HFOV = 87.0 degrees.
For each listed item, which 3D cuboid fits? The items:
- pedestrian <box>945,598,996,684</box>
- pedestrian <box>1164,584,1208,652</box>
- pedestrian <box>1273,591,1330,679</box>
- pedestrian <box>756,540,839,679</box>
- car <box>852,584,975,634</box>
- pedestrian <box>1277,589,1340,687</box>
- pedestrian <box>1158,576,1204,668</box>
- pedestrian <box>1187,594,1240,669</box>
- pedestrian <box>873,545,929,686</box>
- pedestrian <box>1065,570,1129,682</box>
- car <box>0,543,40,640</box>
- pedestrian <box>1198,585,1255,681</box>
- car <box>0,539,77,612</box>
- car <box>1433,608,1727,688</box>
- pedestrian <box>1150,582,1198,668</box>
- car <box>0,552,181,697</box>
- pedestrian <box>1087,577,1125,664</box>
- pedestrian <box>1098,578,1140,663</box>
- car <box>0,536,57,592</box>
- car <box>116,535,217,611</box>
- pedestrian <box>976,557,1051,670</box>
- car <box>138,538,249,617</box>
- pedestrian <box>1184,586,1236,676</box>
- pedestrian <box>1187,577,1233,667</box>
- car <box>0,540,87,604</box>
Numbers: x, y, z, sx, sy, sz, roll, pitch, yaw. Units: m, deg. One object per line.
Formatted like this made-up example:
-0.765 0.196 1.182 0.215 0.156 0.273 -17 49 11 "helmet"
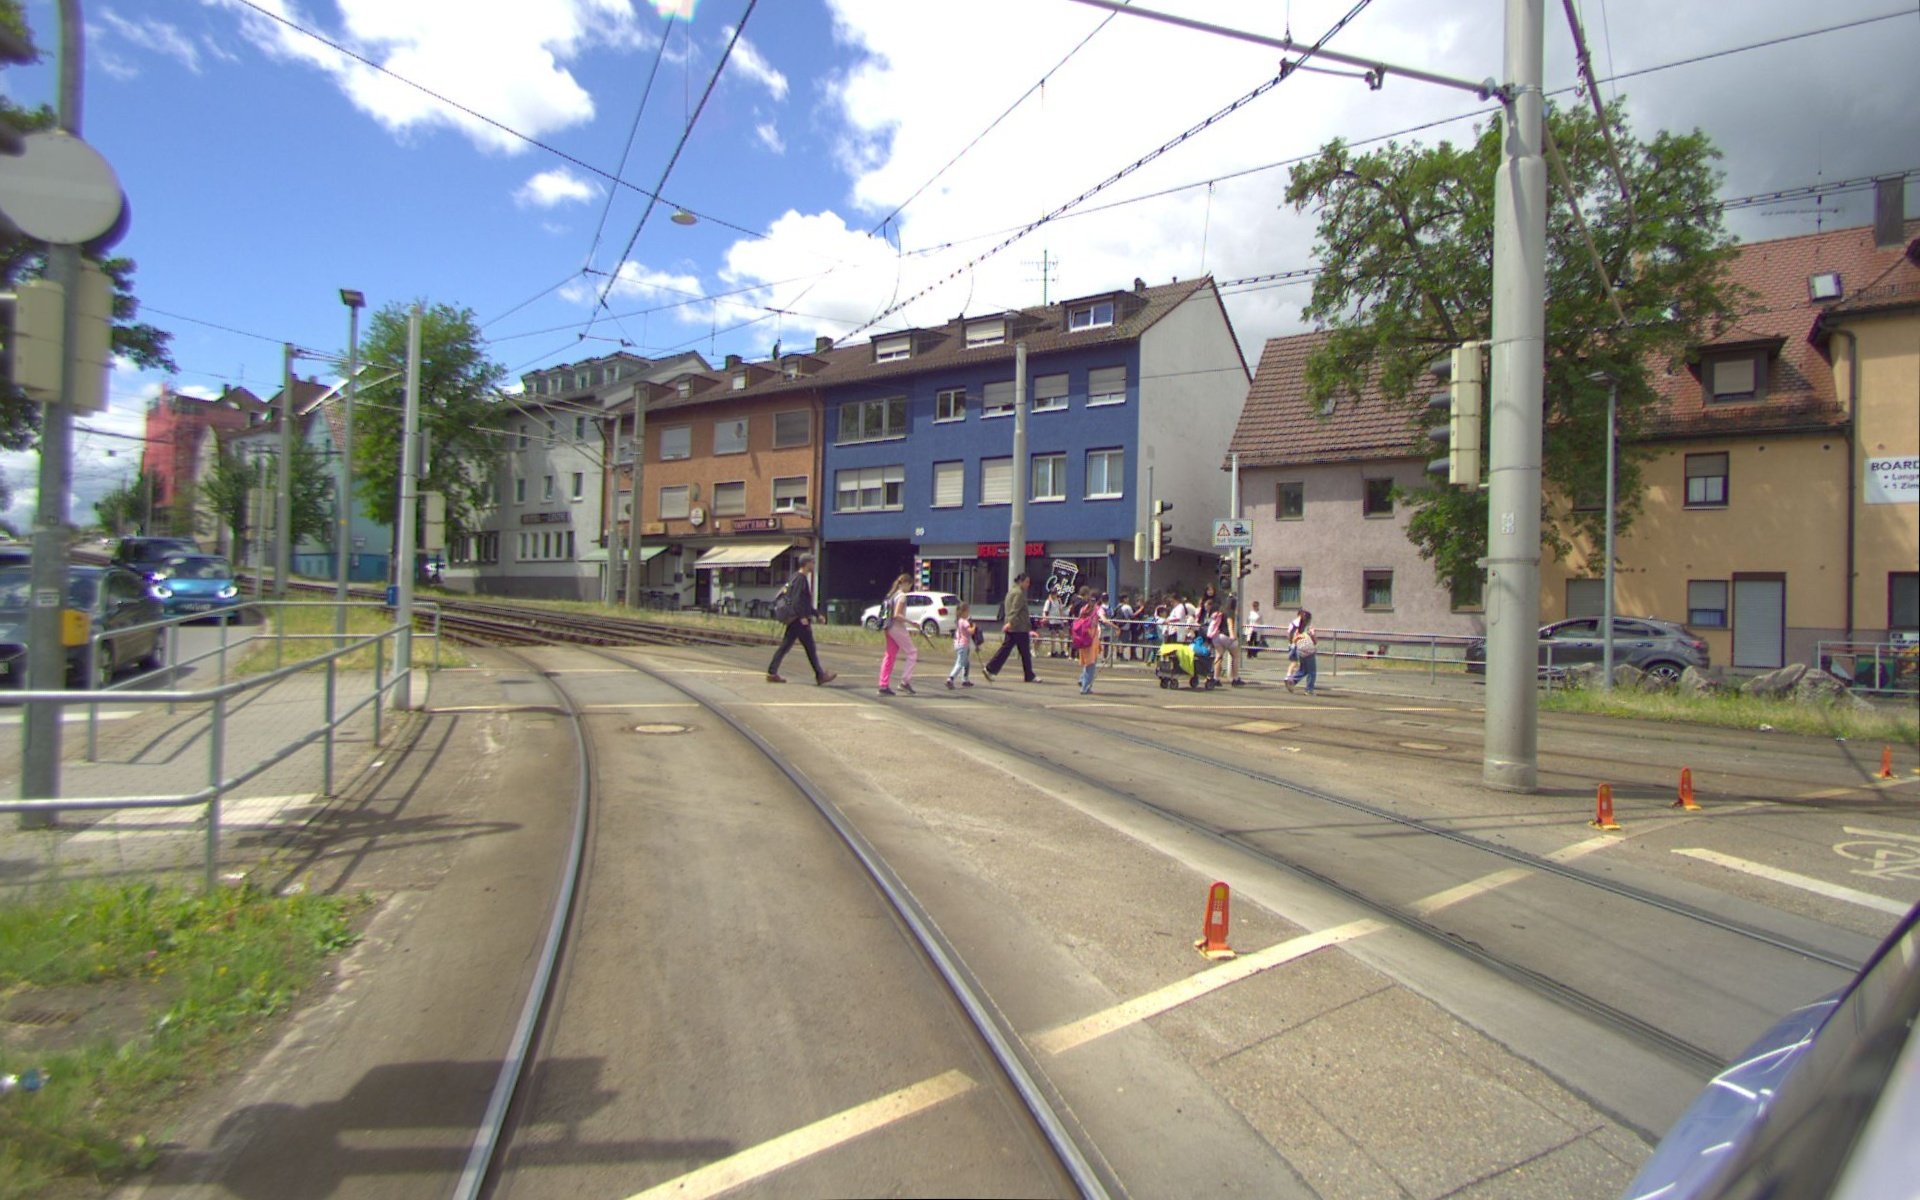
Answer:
0.152 0.572 14.442 0.663 1.182 0.586 1 0 6 "pedestrian"
4.772 0.365 21.345 0.672 1.392 0.626 1 0 41 "pedestrian"
5.667 0.571 16.799 0.661 1.418 0.588 1 0 -15 "pedestrian"
-2.248 0.118 14.066 0.950 1.864 0.825 1 0 6 "pedestrian"
-1.597 0.279 34.320 3.976 1.551 1.690 1 -1 36 "car"
5.460 0.574 15.865 0.763 1.488 0.542 1 0 -26 "pedestrian"
4.368 0.412 20.002 0.673 1.772 0.578 2 1 42 "pedestrian"
4.892 0.586 19.502 0.577 1.392 0.779 1 1 -42 "pedestrian"
-0.767 0.191 13.096 0.679 1.772 0.753 1 0 -4 "pedestrian"
1.897 0.346 14.138 0.839 1.500 0.741 1 0 6 "pedestrian"
-17.534 -0.146 17.266 1.960 1.663 4.003 1 0 -31 "car"
4.392 0.531 16.694 0.662 1.546 0.588 1 1 -32 "pedestrian"
-21.041 -0.546 22.271 1.866 1.482 4.002 0 1 -33 "car"
12.256 0.886 20.264 4.823 1.388 1.895 0 -1 35 "car"
4.072 0.456 19.292 0.673 1.585 0.578 2 1 42 "pedestrian"
-11.053 0.174 12.278 1.704 1.455 4.103 -1 4 -26 "car"
3.010 0.408 20.928 0.739 1.772 0.586 1 0 6 "pedestrian"
3.430 0.430 21.837 0.673 1.772 0.578 2 1 42 "pedestrian"
-29.212 -1.103 31.076 3.988 1.639 1.968 2 2 44 "car"
-21.370 -0.712 27.199 1.820 1.904 4.141 0 1 -43 "car"
0.814 0.196 15.562 0.873 1.672 0.827 1 0 -19 "pedestrian"
-17.642 -0.510 23.290 1.892 1.659 3.997 0 1 -38 "car"
4.297 0.526 17.418 0.661 1.510 0.588 1 1 -8 "pedestrian"
5.004 0.427 20.286 0.673 1.772 0.578 2 1 42 "pedestrian"
-25.256 -0.767 27.494 3.987 1.603 1.969 2 2 44 "car"
